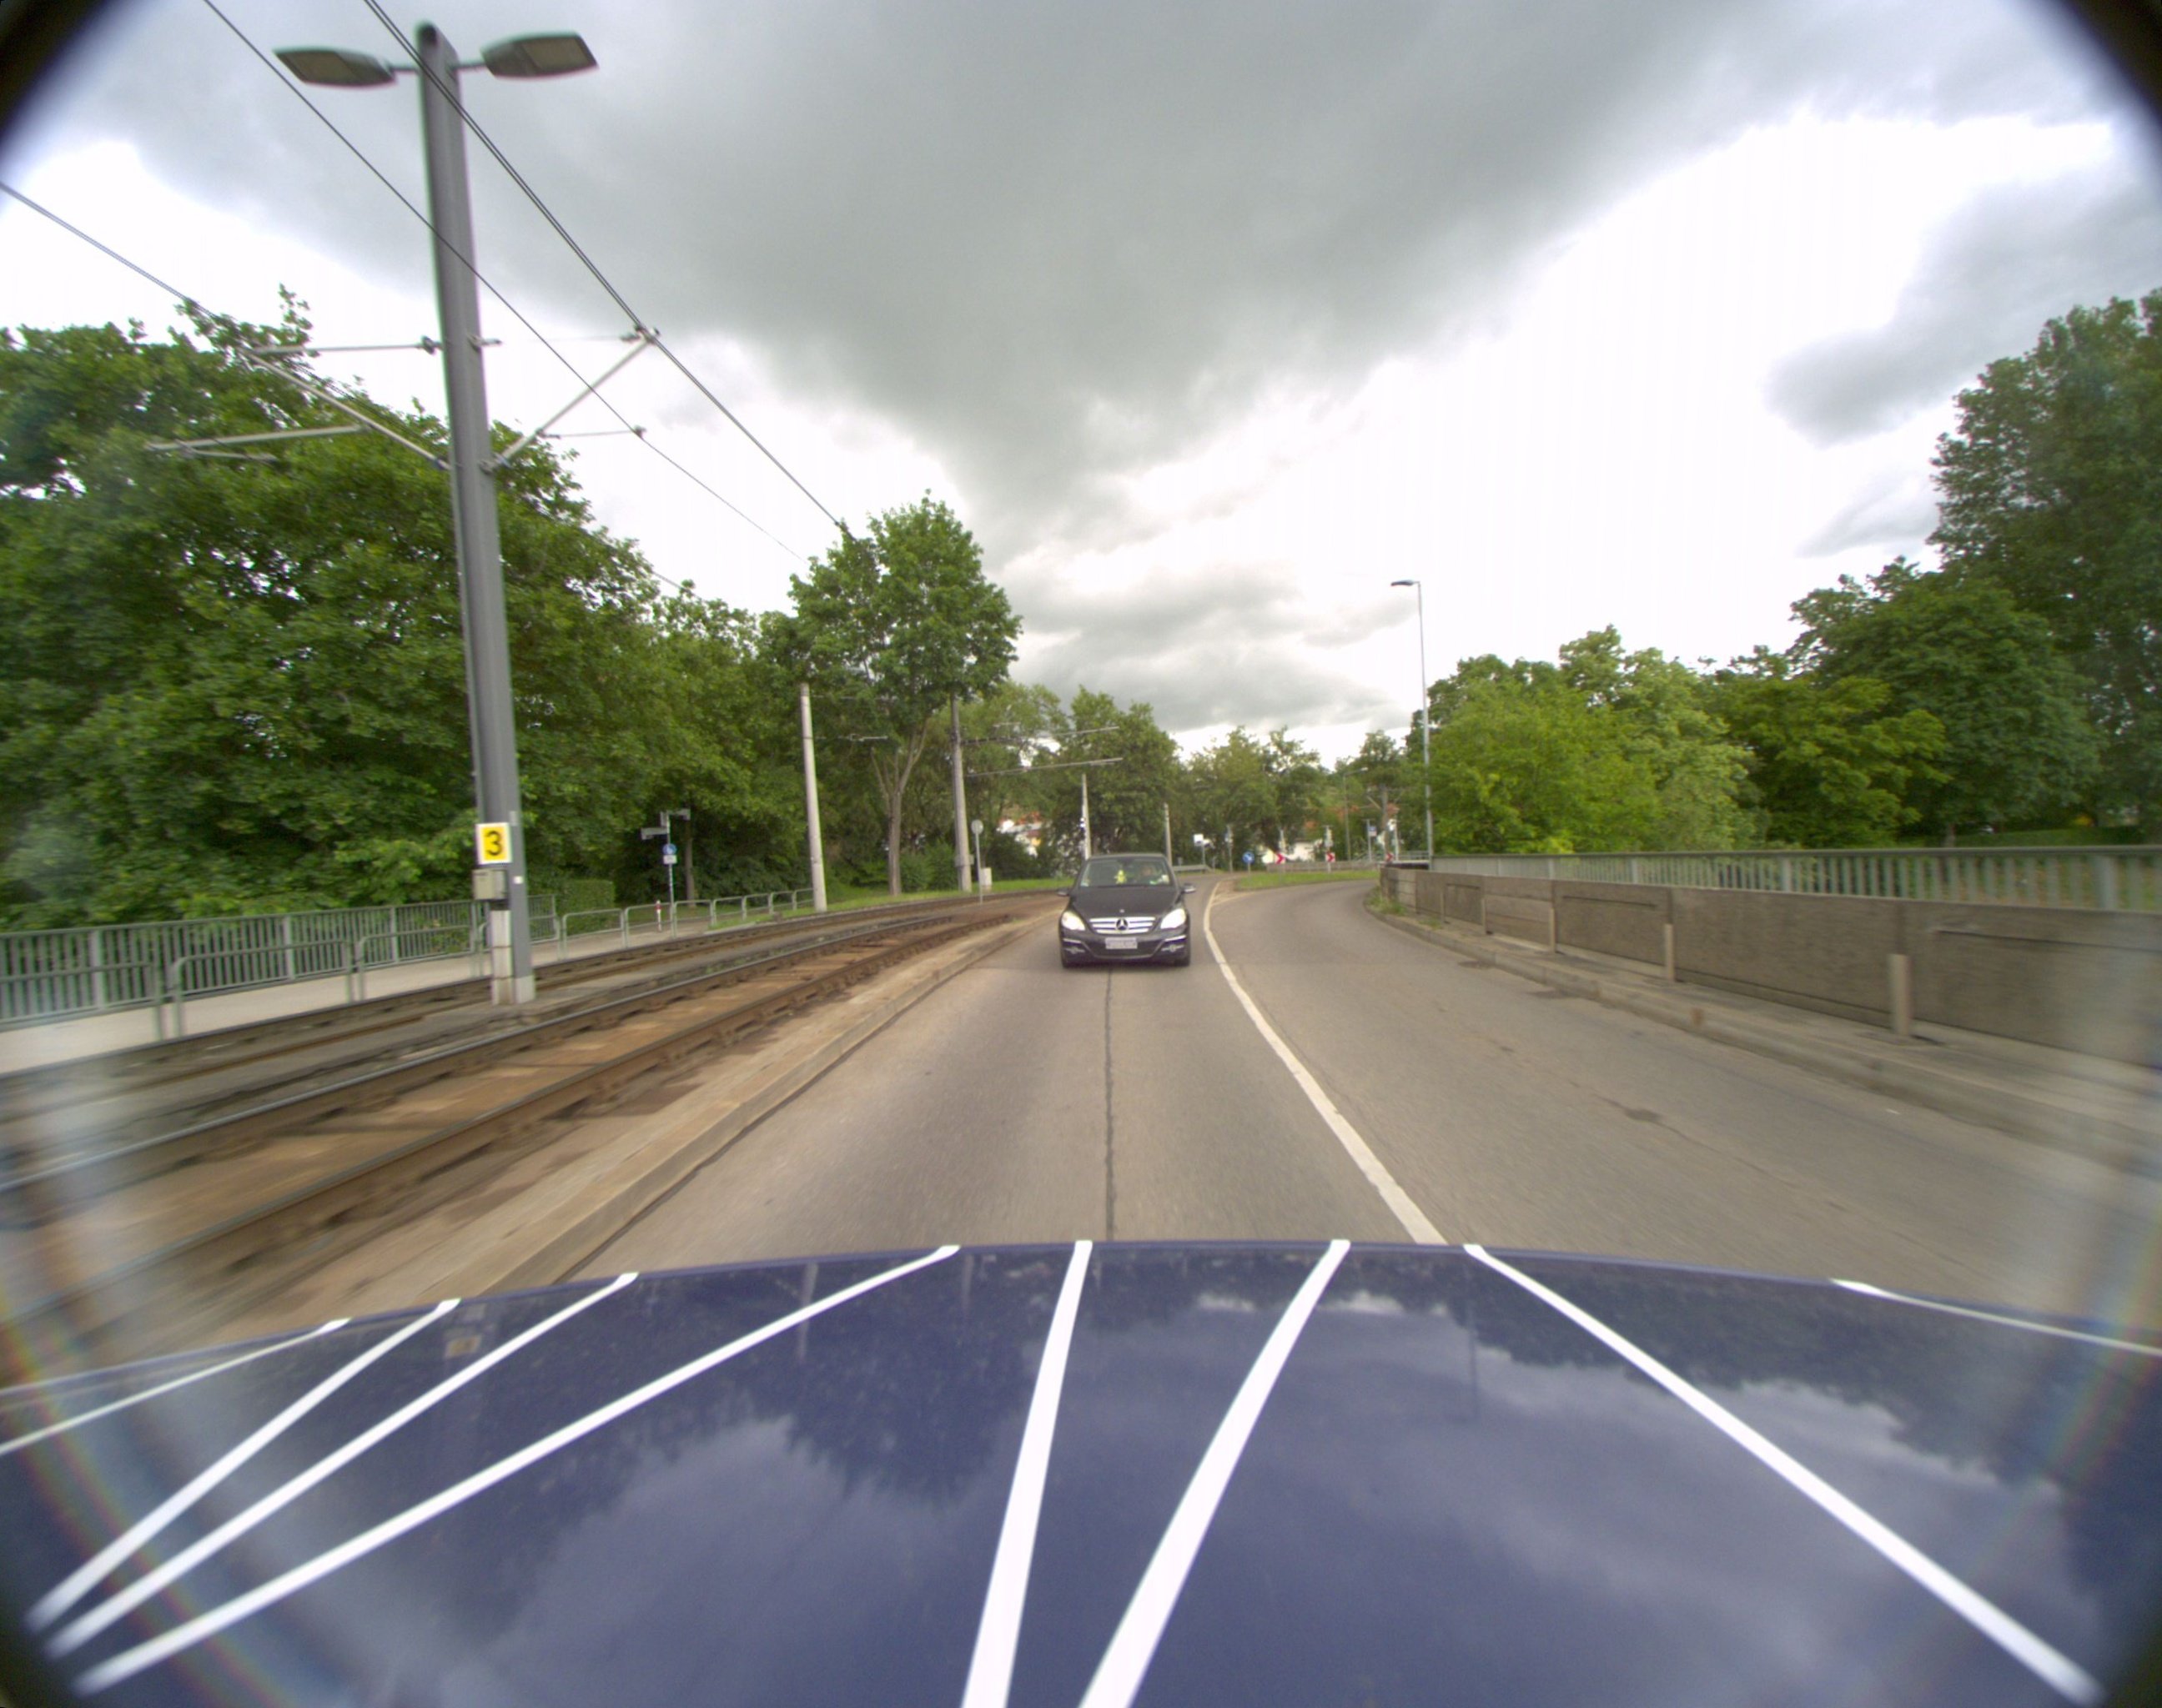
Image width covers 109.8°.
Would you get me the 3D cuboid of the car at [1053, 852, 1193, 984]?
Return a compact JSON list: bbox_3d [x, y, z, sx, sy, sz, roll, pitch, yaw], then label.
[{"bbox_3d":[0.827,0.810,11.729,1.710,1.574,4.444,-2,1,8],"label":"car"}]
